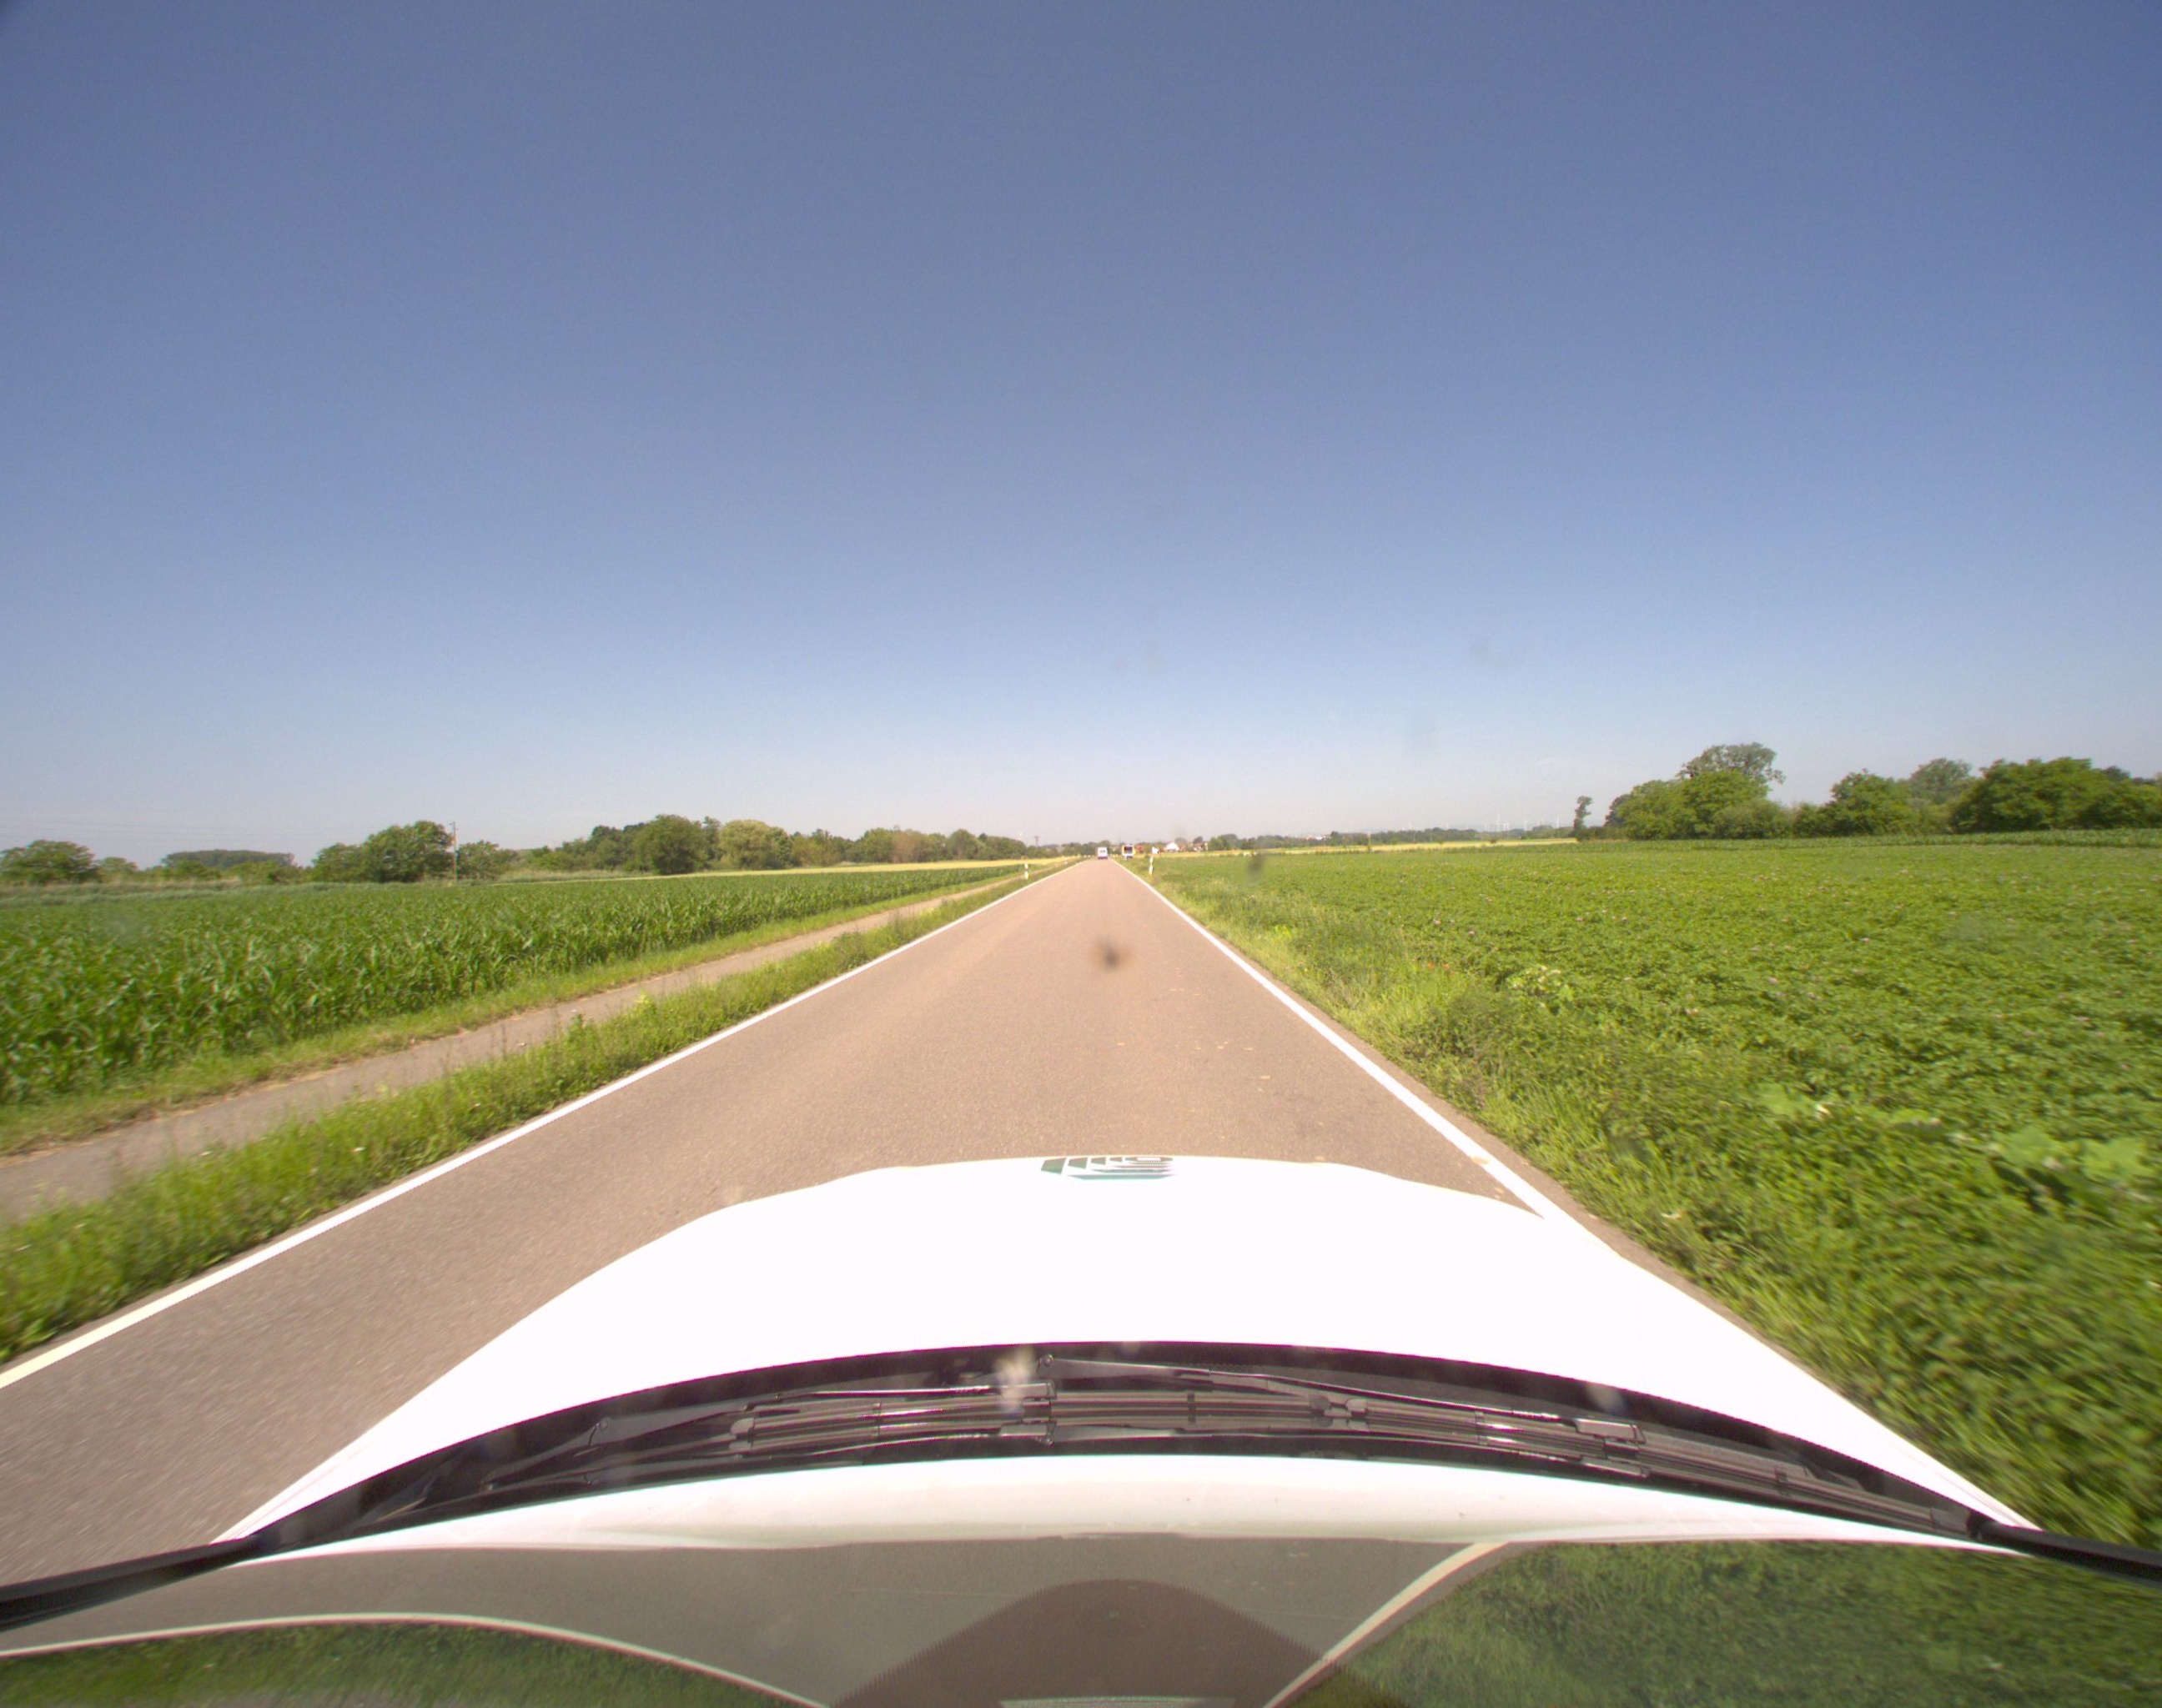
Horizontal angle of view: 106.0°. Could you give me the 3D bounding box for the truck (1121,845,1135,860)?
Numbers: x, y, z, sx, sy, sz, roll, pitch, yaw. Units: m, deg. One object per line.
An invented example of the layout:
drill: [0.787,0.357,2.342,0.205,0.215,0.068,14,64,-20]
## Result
truck: [9.642,-0.216,167.534,2.328,2.942,7.006,1,0,0]

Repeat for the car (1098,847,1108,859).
car: [4.559,-0.180,171.292,2.099,2.304,5.497,0,0,1]
